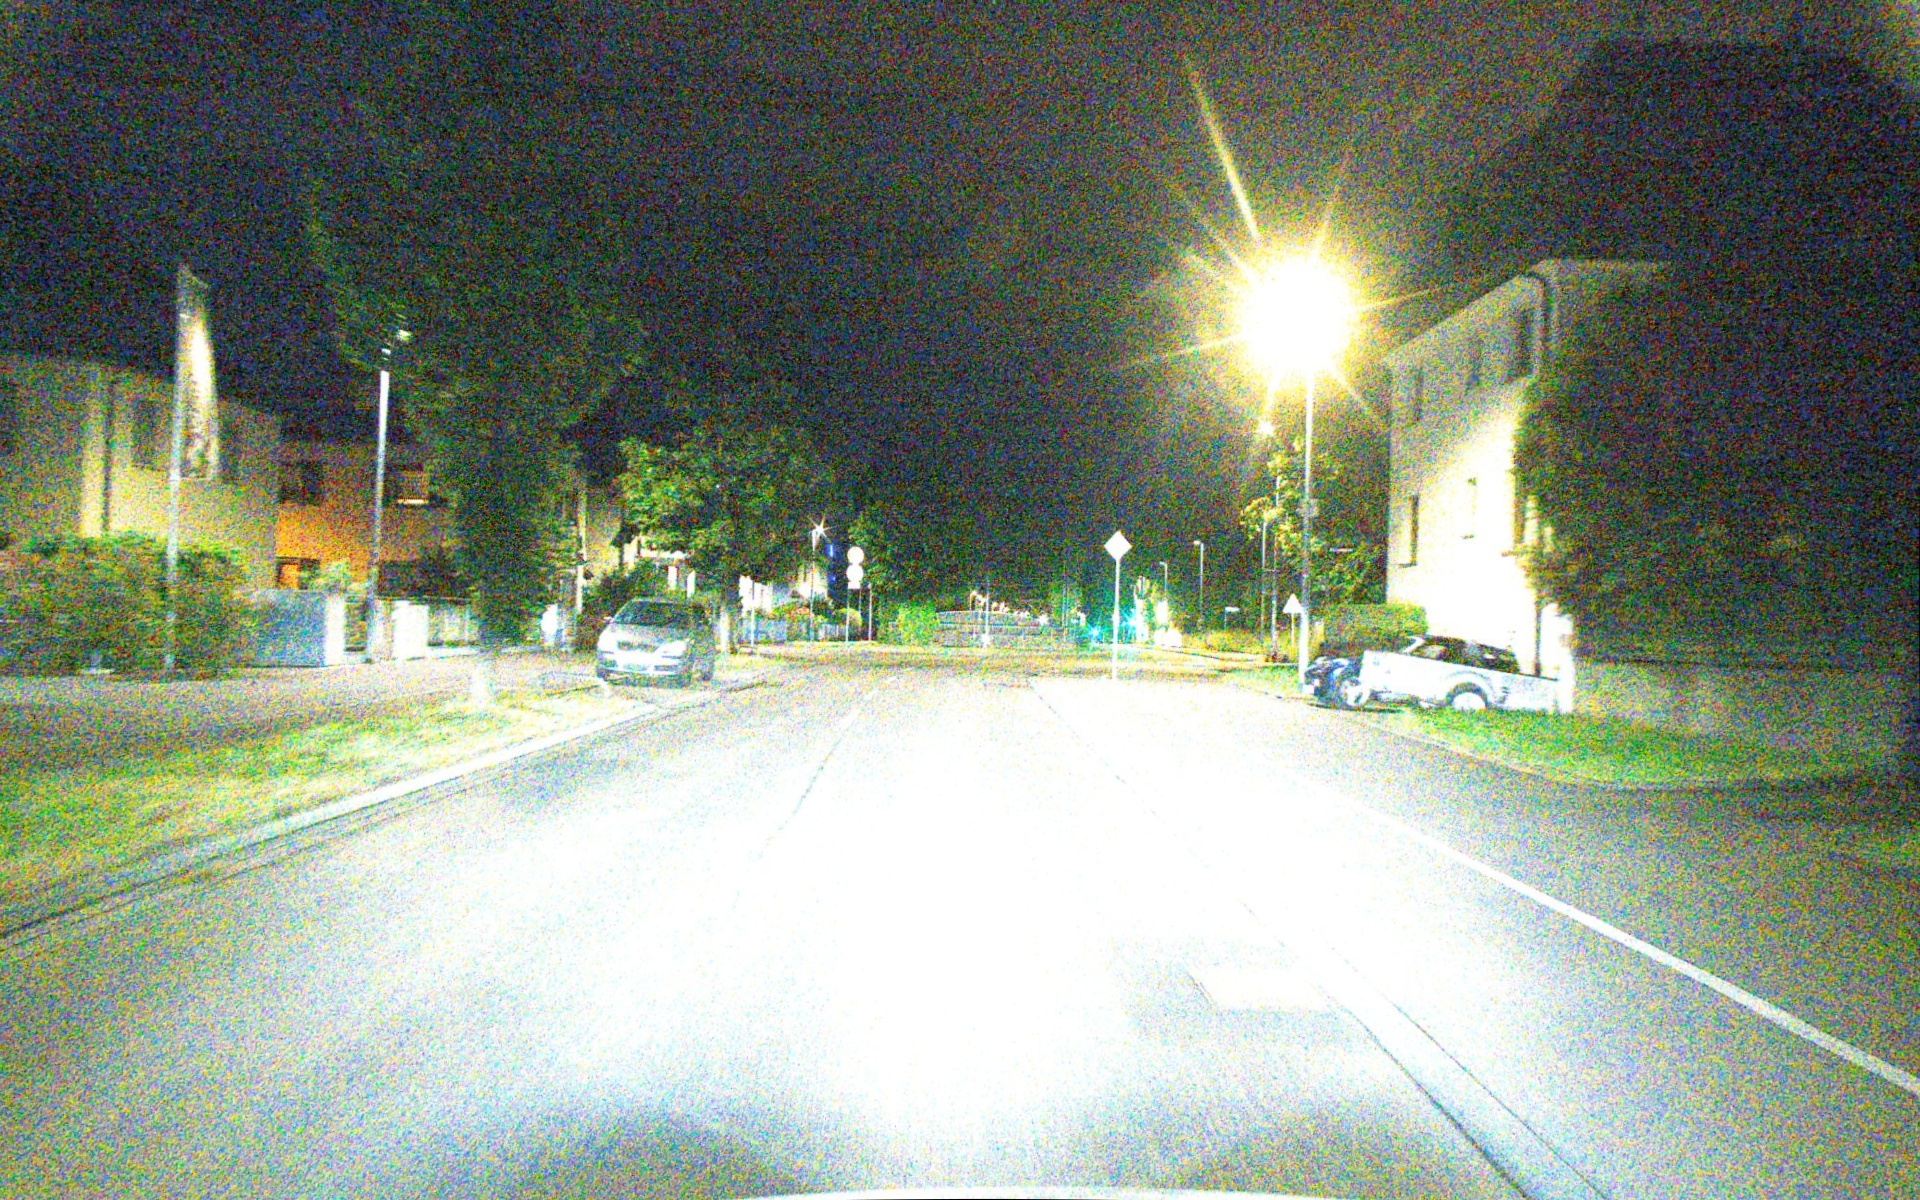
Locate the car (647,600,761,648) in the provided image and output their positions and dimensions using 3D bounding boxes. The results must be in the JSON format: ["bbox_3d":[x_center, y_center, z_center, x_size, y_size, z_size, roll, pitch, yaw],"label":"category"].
[{"bbox_3d":[-9.198,0.865,59.516,3.635,1.655,1.783,1,-1,18],"label":"car"}]

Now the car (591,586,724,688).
[{"bbox_3d":[-5.281,0.617,29.347,1.638,1.618,3.986,2,0,-1],"label":"car"}]

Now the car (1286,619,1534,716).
[{"bbox_3d":[6.954,1.036,25.790,3.324,1.253,1.724,3,0,-2],"label":"car"}]

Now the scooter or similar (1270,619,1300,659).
[{"bbox_3d":[10.906,1.305,55.517,0.599,1.303,1.689,2,0,-2],"label":"scooter or similar"}]

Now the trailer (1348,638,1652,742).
[{"bbox_3d":[7.118,1.166,22.062,3.363,1.019,1.954,5,0,-1],"label":"trailer"}]
